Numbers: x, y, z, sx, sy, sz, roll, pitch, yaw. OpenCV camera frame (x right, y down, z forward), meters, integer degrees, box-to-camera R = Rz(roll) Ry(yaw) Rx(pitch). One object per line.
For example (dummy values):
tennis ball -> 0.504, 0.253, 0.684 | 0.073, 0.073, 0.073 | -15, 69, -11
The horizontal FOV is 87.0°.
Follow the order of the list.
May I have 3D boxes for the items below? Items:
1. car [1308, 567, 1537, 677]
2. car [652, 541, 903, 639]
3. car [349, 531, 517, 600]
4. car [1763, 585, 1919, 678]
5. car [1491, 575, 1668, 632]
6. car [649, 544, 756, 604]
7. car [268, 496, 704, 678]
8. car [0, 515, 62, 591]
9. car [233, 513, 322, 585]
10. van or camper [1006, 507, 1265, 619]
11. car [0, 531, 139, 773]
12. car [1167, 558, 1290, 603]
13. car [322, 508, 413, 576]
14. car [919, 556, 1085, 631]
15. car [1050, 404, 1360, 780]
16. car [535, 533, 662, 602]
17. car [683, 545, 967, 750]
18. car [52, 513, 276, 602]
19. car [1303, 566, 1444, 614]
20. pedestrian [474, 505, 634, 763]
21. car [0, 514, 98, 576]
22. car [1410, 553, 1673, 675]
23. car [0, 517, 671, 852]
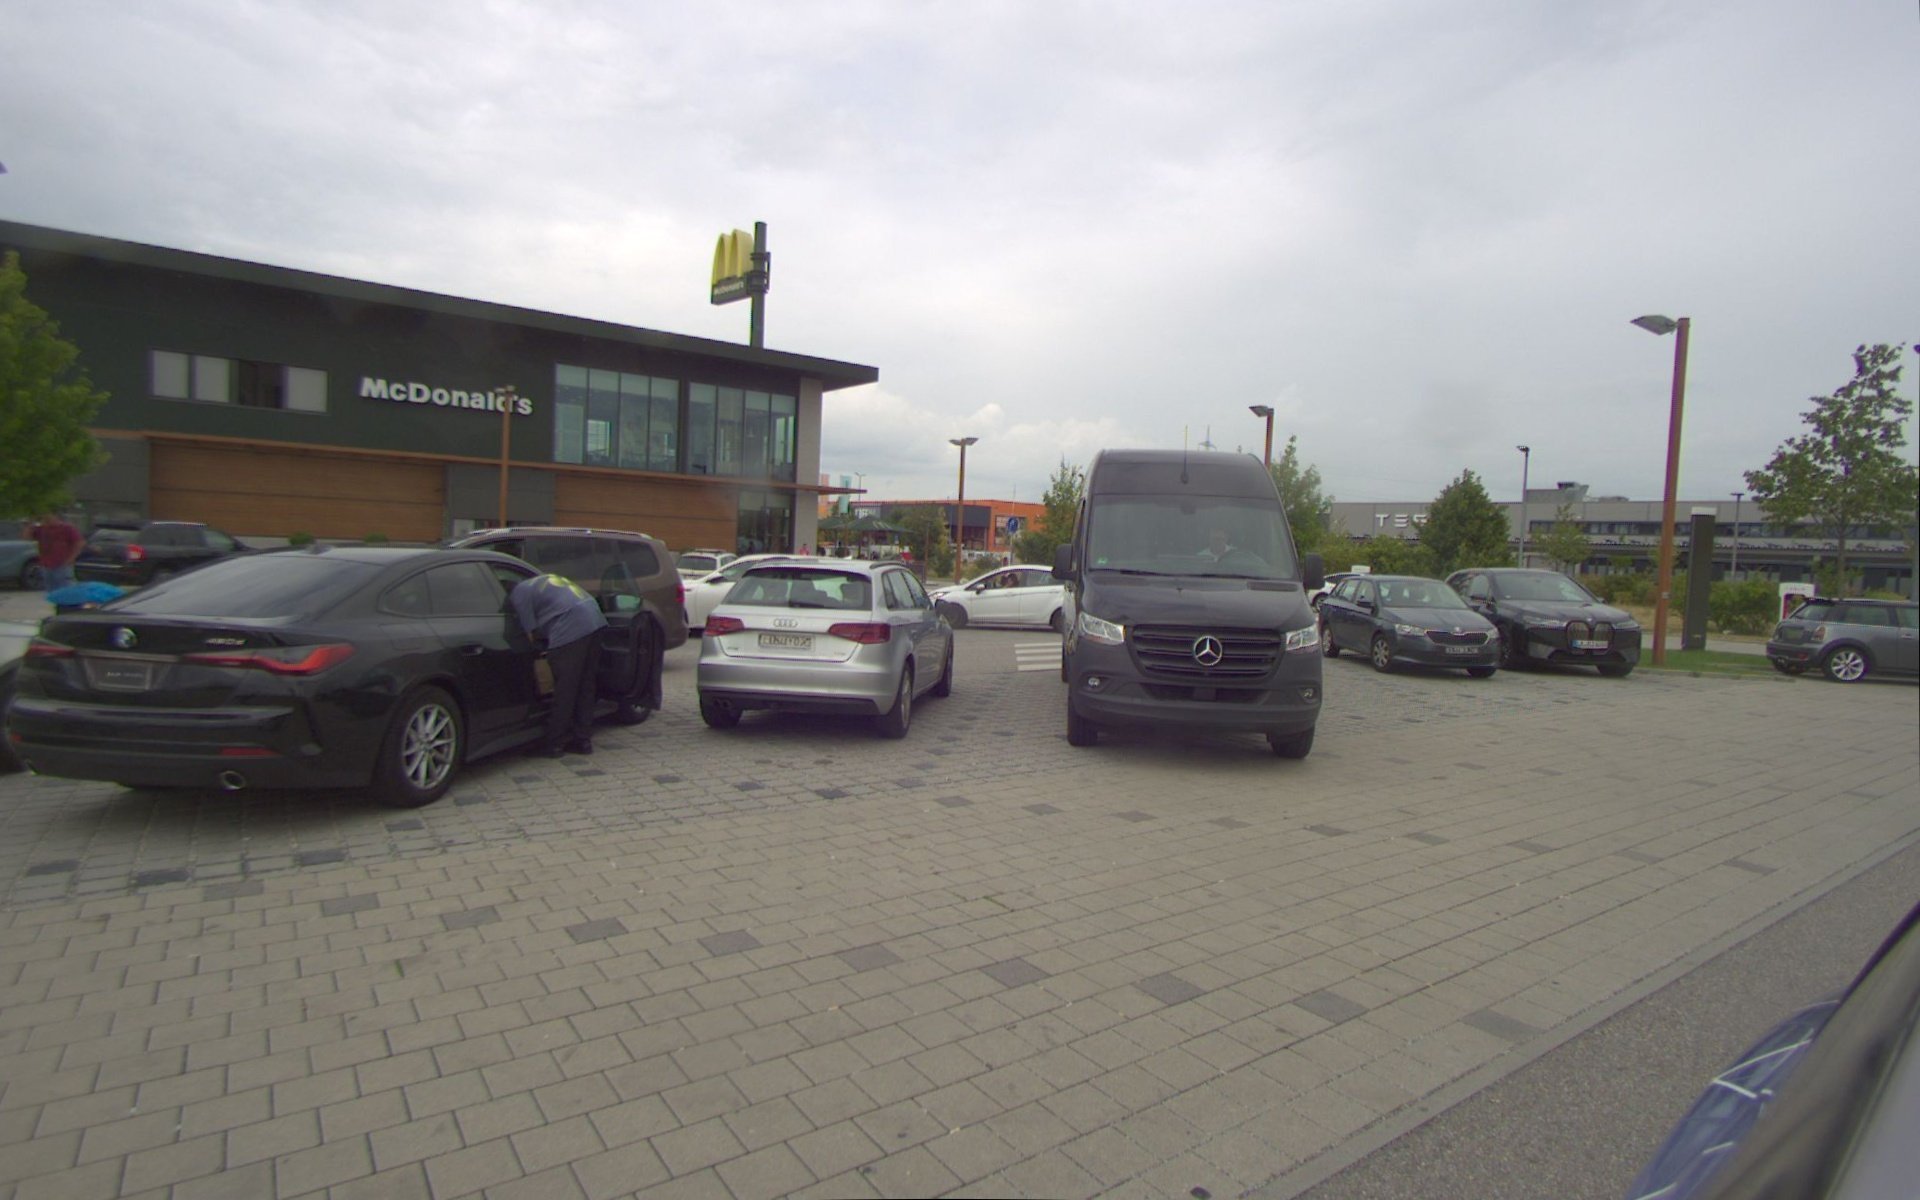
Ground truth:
car -> 7.142, 0.242, 16.139 | 1.798, 1.429, 4.001 | 1, 3, 1
car -> -3.157, -0.181, 18.011 | 4.038, 1.485, 1.778 | 2, 0, 4
car -> -13.624, -0.934, 26.441 | 1.808, 1.593, 4.084 | 3, 3, 9
car -> 16.194, 0.576, 17.249 | 3.475, 1.393, 1.603 | 4, 2, 13
car -> 19.800, 0.057, 32.530 | 1.799, 1.476, 4.460 | 0, 4, -34
car -> -7.792, -0.856, 30.988 | 1.761, 1.504, 3.994 | 4, 5, 8
car -> -5.265, -0.135, 11.536 | 4.117, 1.710, 1.809 | 2, 3, -41
car -> -21.294, -1.022, 21.068 | 1.717, 1.603, 3.906 | 4, 2, 0
car -> -18.931, -1.439, 28.005 | 1.720, 1.775, 4.000 | 2, 3, -38
van or camper -> 4.600, -1.007, 26.929 | 6.473, 2.734, 2.165 | 2, 1, 13
car -> -6.598, 0.322, 4.710 | 1.722, 1.429, 4.455 | 2, 2, 5
car -> 11.540, -0.860, 43.845 | 2.034, 1.621, 4.948 | 0, 4, -35
car -> -17.273, -1.727, 29.418 | 1.720, 1.775, 4.000 | 2, 3, -38
car -> 0.970, -0.168, 22.521 | 3.512, 1.471, 1.840 | 2, 2, 6
car -> 2.097, -0.261, 10.599 | 2.038, 2.584, 7.004 | 2, 3, 7
car -> -10.296, -0.998, 29.198 | 1.864, 1.681, 4.258 | 4, 5, 4
car -> -1.020, 0.282, 9.553 | 1.659, 1.469, 3.993 | 2, 2, 7
car -> -18.275, -0.983, 23.505 | 1.963, 1.771, 4.000 | 4, 2, 1
car -> 15.591, -0.418, 38.373 | 2.035, 1.572, 4.477 | 0, 3, -38
pedestrian -> -2.821, 0.207, 7.108 | 0.736, 1.698, 0.841 | 1, 2, 6
car -> -25.700, -1.527, 27.017 | 3.925, 1.524, 1.789 | 2, 3, -37
car -> 9.905, 0.127, 17.814 | 1.964, 1.749, 4.893 | 3, 2, 4
car -> -3.624, 0.302, 6.852 | 1.658, 1.481, 4.401 | 2, 2, 6
